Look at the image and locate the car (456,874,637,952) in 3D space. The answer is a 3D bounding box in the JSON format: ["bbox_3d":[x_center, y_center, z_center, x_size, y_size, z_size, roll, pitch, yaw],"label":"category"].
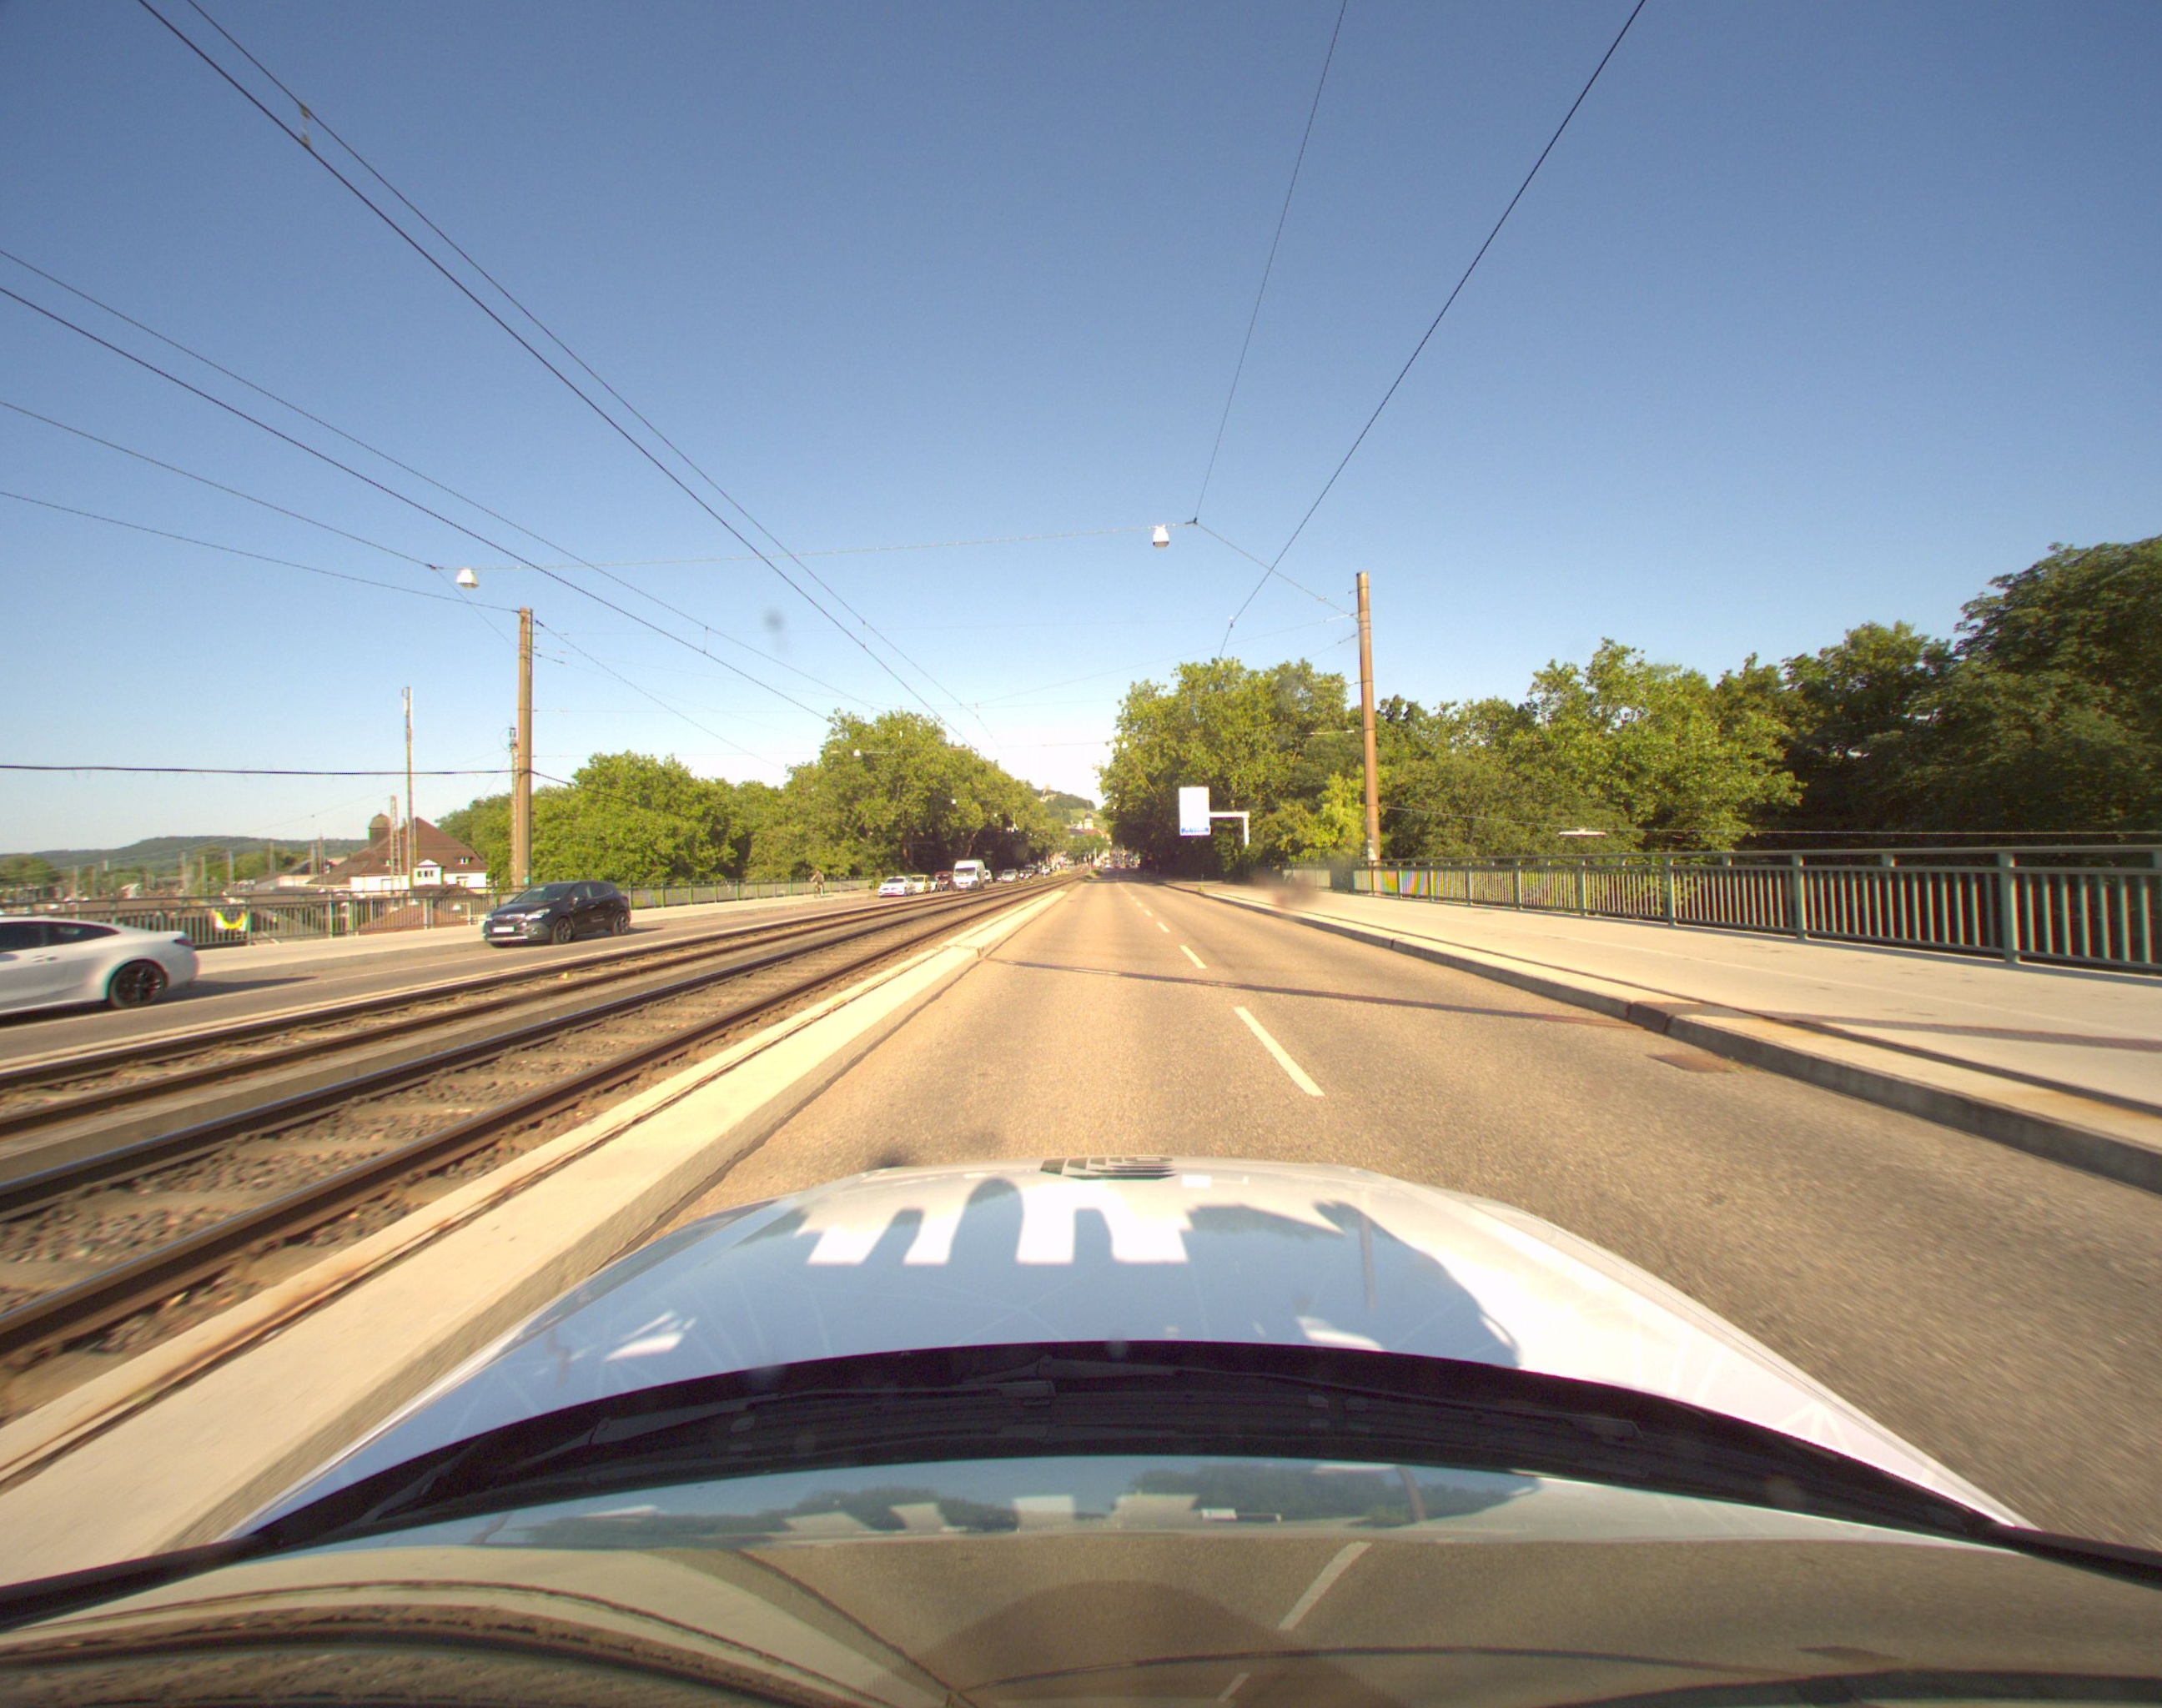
[{"bbox_3d":[-14.078,1.484,21.840,1.773,1.650,4.448,-2,1,1],"label":"car"}]

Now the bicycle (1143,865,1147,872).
[{"bbox_3d":[13.712,3.080,174.521,0.883,1.321,2.641,-2,-1,2],"label":"bicycle"}]

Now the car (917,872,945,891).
[{"bbox_3d":[-12.809,2.340,69.658,1.628,1.450,4.001,-2,0,-1],"label":"car"}]

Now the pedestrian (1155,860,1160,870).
[{"bbox_3d":[12.658,1.821,134.166,0.800,1.546,0.815,-2,-1,5],"label":"pedestrian"}]

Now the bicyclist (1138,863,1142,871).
[{"bbox_3d":[13.467,3.032,185.920,0.883,1.775,1.223,-2,-1,3],"label":"bicyclist"}]

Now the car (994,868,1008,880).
[{"bbox_3d":[-11.615,2.915,118.347,1.738,1.636,3.995,-3,0,-3],"label":"car"}]

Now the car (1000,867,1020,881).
[{"bbox_3d":[-8.953,2.543,102.973,1.866,1.665,4.599,-1,0,2],"label":"car"}]

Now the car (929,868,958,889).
[{"bbox_3d":[-12.600,2.230,75.039,1.735,1.754,4.685,-2,0,1],"label":"car"}]

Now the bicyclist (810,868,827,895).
[{"bbox_3d":[-16.284,1.698,50.532,0.677,1.627,0.890,0,-1,2],"label":"bicyclist"}]

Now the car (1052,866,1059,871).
[{"bbox_3d":[-8.085,4.628,258.293,1.987,1.697,4.744,-2,-1,0],"label":"car"}]

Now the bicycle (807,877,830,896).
[{"bbox_3d":[-16.288,2.013,50.538,0.677,1.097,2.101,0,0,2],"label":"bicycle"}]

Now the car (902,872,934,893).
[{"bbox_3d":[-12.833,2.231,64.279,1.627,1.531,3.791,-2,0,1],"label":"car"}]

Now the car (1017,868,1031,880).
[{"bbox_3d":[-8.923,3.108,127.852,1.736,1.623,4.393,-4,0,0],"label":"car"}]

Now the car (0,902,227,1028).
[{"bbox_3d":[-14.273,1.501,10.271,1.678,1.356,4.922,-2,1,1],"label":"car"}]

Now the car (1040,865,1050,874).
[{"bbox_3d":[-8.368,3.616,189.962,1.987,1.844,5.300,-5,0,0],"label":"car"}]

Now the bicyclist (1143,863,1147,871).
[{"bbox_3d":[13.705,2.822,174.768,0.883,1.638,1.165,-2,-1,2],"label":"bicyclist"}]

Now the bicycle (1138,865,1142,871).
[{"bbox_3d":[13.476,3.288,185.921,0.883,1.321,2.641,-2,-1,3],"label":"bicycle"}]

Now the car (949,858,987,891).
[{"bbox_3d":[-9.381,1.629,68.264,2.078,2.593,6.043,-2,0,2],"label":"car"}]

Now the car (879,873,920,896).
[{"bbox_3d":[-12.973,2.167,58.413,1.736,1.464,4.956,-2,0,0],"label":"car"}]
